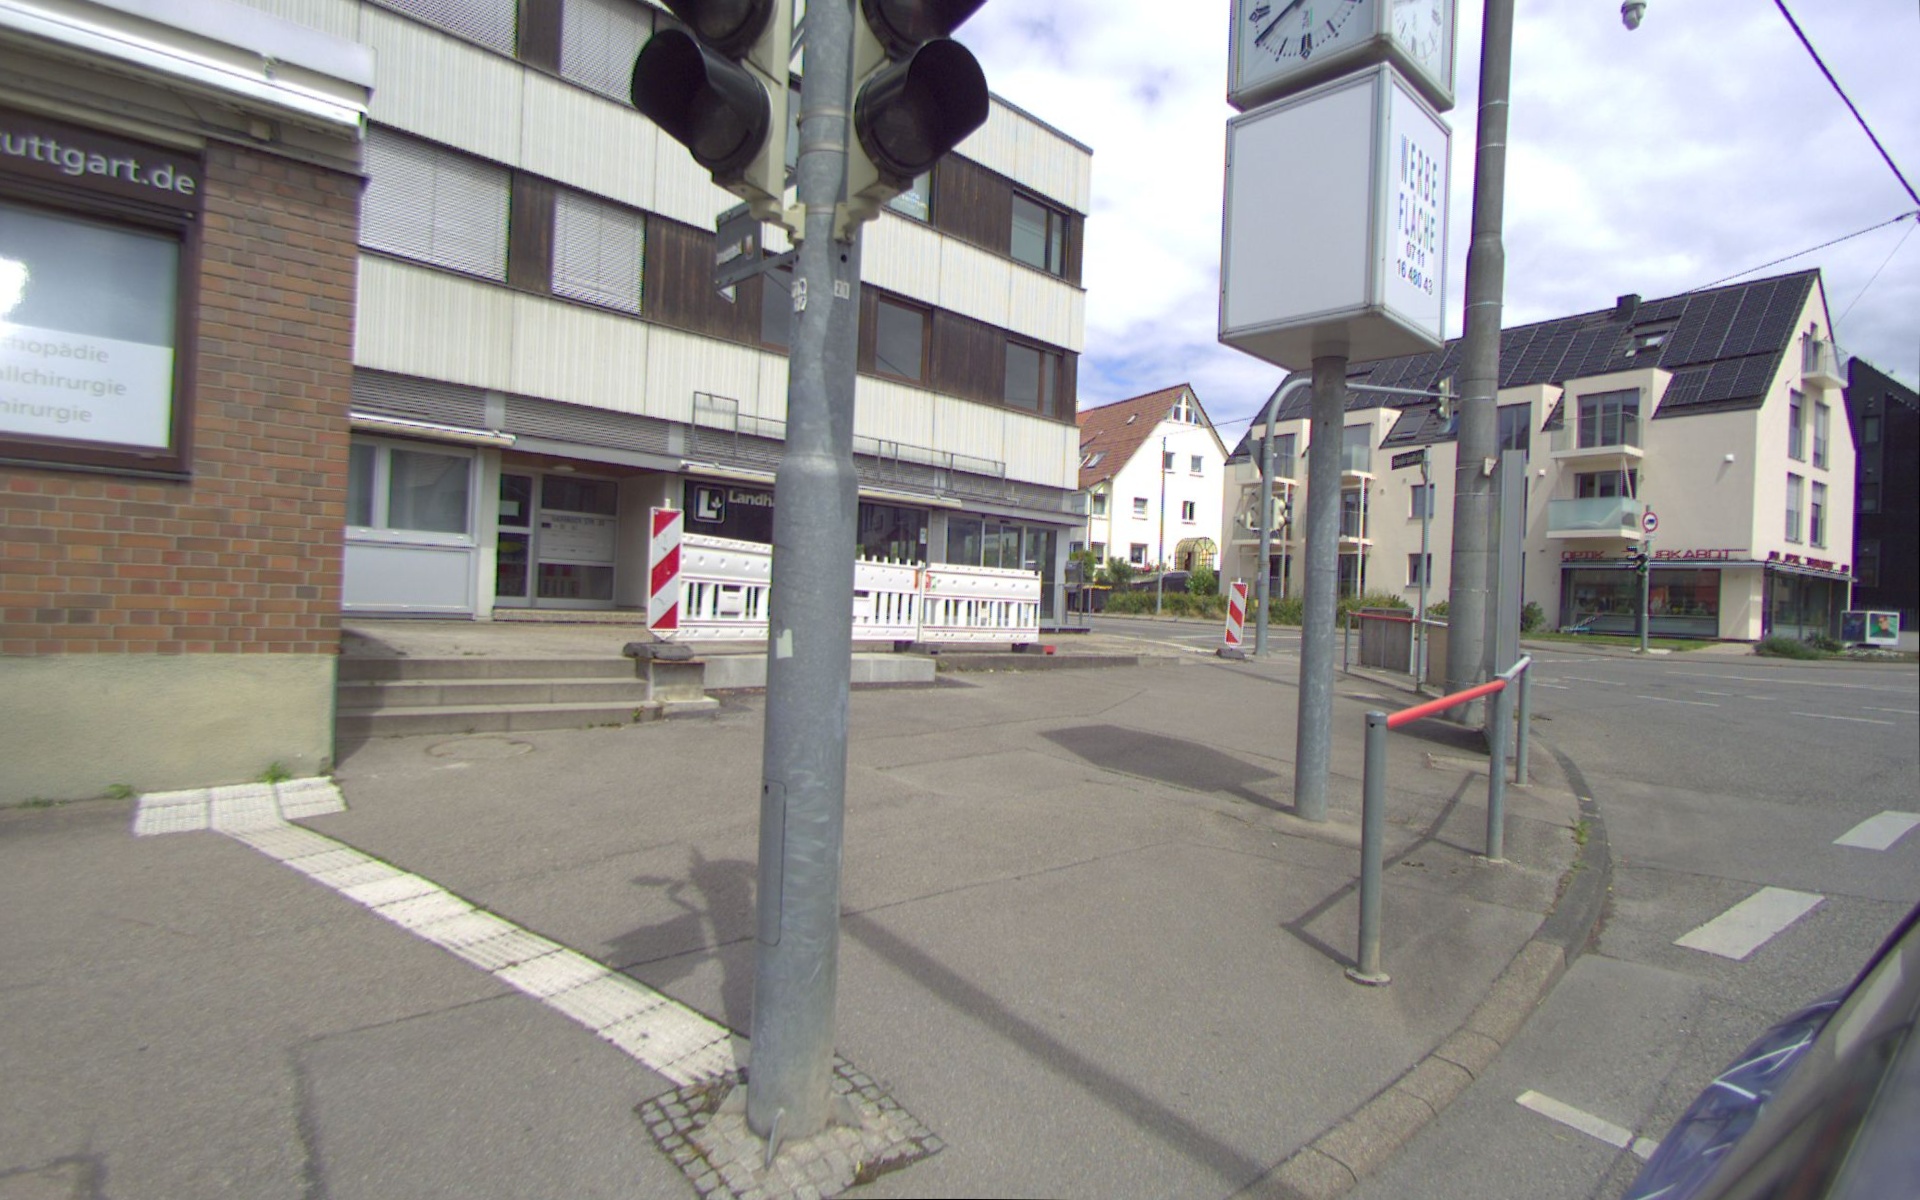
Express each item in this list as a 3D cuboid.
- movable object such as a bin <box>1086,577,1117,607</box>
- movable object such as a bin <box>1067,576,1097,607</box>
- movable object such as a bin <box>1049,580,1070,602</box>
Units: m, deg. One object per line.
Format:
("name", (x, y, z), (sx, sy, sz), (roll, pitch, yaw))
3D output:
("movable object such as a bin", (6.914, -0.403, 49.558), (1.071, 1.379, 0.982), (2, 1, -29))
("movable object such as a bin", (6.120, -0.429, 50.912), (1.071, 1.464, 0.982), (2, 1, -29))
("movable object such as a bin", (5.057, -0.465, 51.500), (0.748, 1.078, 0.694), (2, 1, -22))
